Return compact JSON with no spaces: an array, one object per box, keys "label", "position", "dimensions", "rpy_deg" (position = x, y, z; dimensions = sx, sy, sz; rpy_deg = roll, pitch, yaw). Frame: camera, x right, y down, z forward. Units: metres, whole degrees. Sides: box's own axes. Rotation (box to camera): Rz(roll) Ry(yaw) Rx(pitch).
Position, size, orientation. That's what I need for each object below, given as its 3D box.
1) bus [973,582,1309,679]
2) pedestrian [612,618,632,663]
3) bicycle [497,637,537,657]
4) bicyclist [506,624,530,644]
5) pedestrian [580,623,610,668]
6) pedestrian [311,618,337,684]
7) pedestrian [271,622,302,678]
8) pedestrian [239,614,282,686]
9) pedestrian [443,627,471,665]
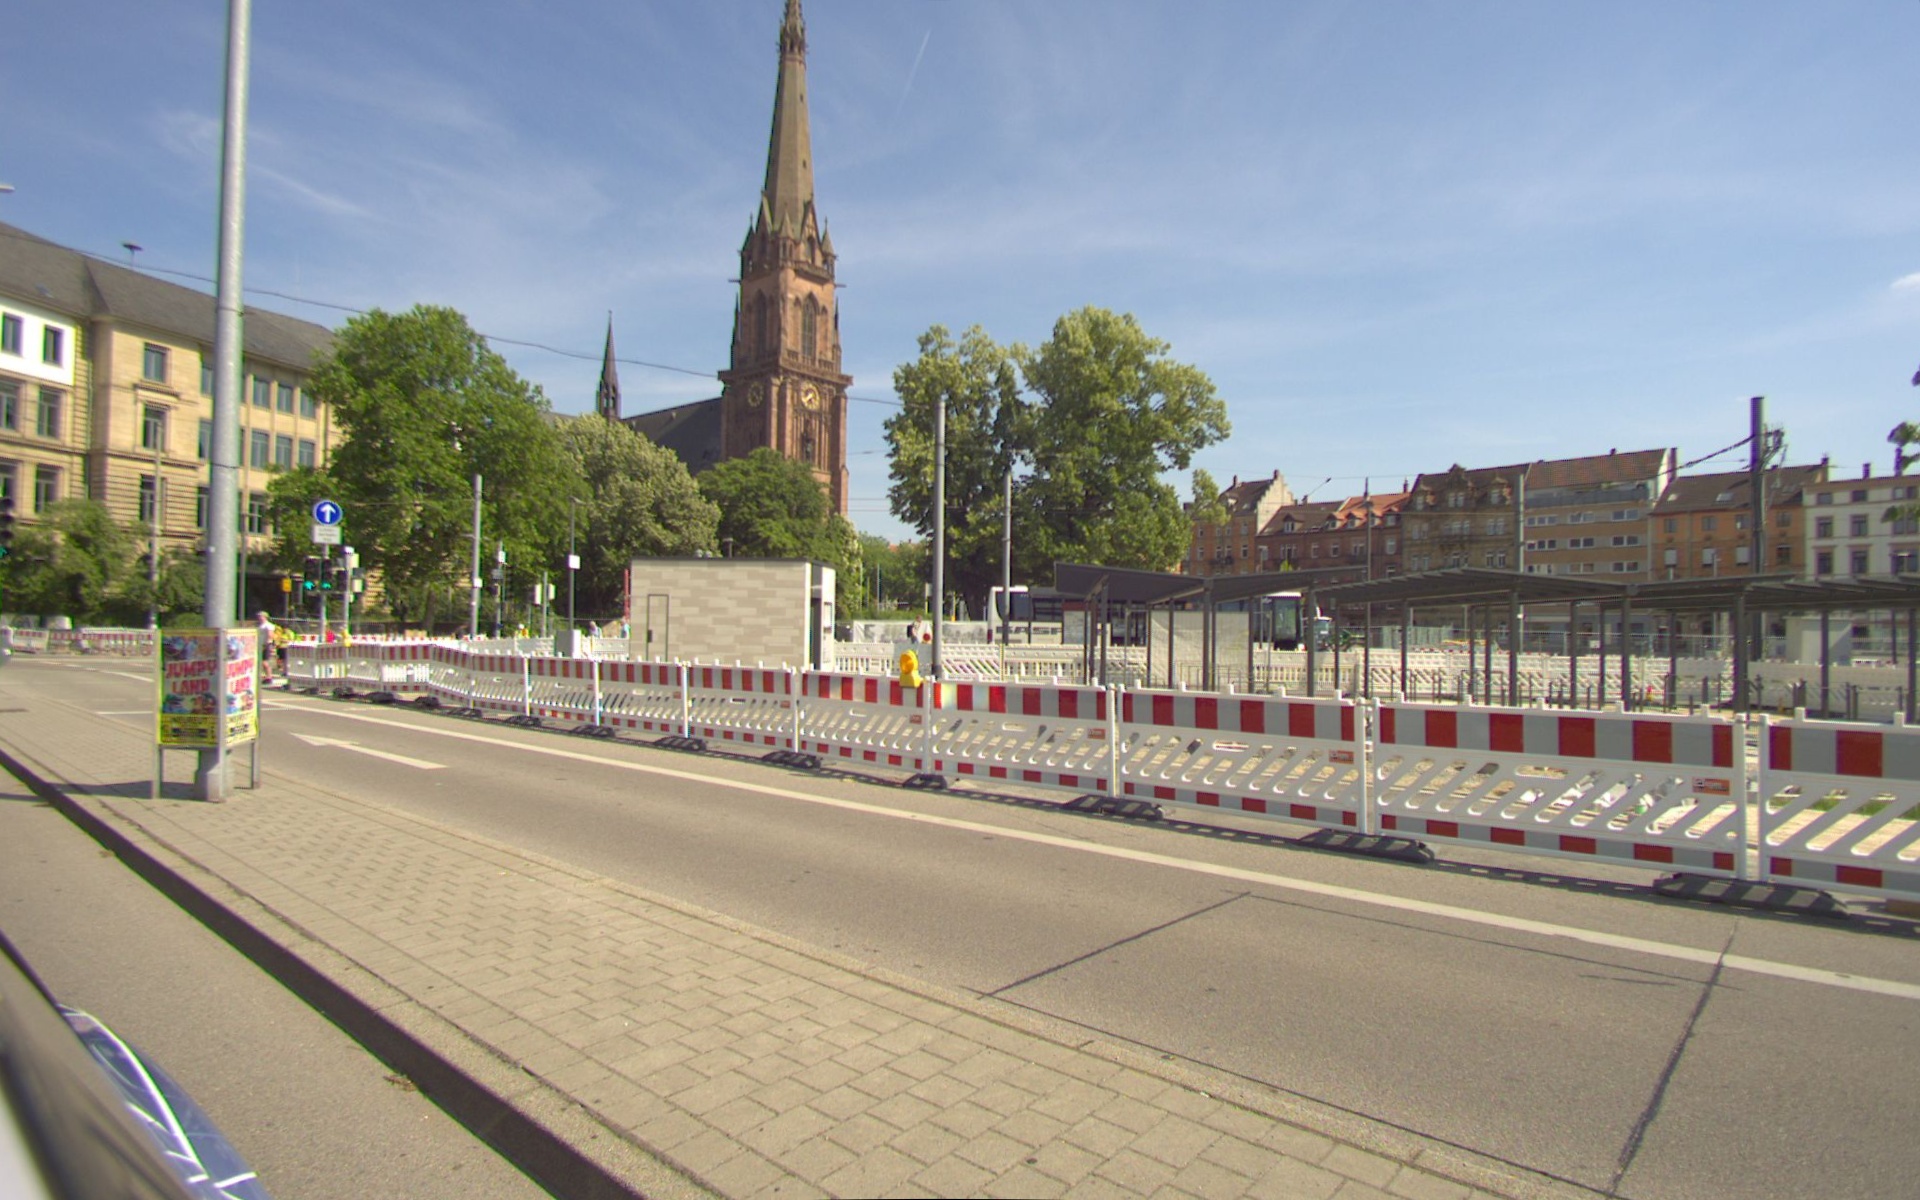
[{"label":"bus","position":[6.858,1.161,39.671],"dimensions":[12.504,3.516,2.856],"rpy_deg":[0,-2,7]},{"label":"pedestrian","position":[-12.333,1.482,36.942],"dimensions":[0.577,1.628,0.690],"rpy_deg":[0,-2,-8]},{"label":"bicycle","position":[-22.093,2.325,50.473],"dimensions":[1.643,0.954,0.701],"rpy_deg":[1,-2,2]},{"label":"bicyclist","position":[-22.036,1.697,50.486],"dimensions":[0.858,0.934,0.682],"rpy_deg":[1,-2,2]},{"label":"pedestrian","position":[-13.123,1.632,36.354],"dimensions":[0.785,1.628,0.660],"rpy_deg":[0,-2,9]},{"label":"pedestrian","position":[-16.070,1.278,25.561],"dimensions":[0.686,1.628,0.346],"rpy_deg":[-1,-3,42]},{"label":"pedestrian","position":[-19.038,1.400,28.607],"dimensions":[0.657,1.555,0.424],"rpy_deg":[-2,0,-37]},{"label":"pedestrian","position":[-18.062,1.282,26.159],"dimensions":[0.827,1.826,0.651],"rpy_deg":[1,-2,-30]},{"label":"pedestrian","position":[-22.468,2.048,45.191],"dimensions":[0.926,1.668,0.845],"rpy_deg":[2,-3,-41]}]
